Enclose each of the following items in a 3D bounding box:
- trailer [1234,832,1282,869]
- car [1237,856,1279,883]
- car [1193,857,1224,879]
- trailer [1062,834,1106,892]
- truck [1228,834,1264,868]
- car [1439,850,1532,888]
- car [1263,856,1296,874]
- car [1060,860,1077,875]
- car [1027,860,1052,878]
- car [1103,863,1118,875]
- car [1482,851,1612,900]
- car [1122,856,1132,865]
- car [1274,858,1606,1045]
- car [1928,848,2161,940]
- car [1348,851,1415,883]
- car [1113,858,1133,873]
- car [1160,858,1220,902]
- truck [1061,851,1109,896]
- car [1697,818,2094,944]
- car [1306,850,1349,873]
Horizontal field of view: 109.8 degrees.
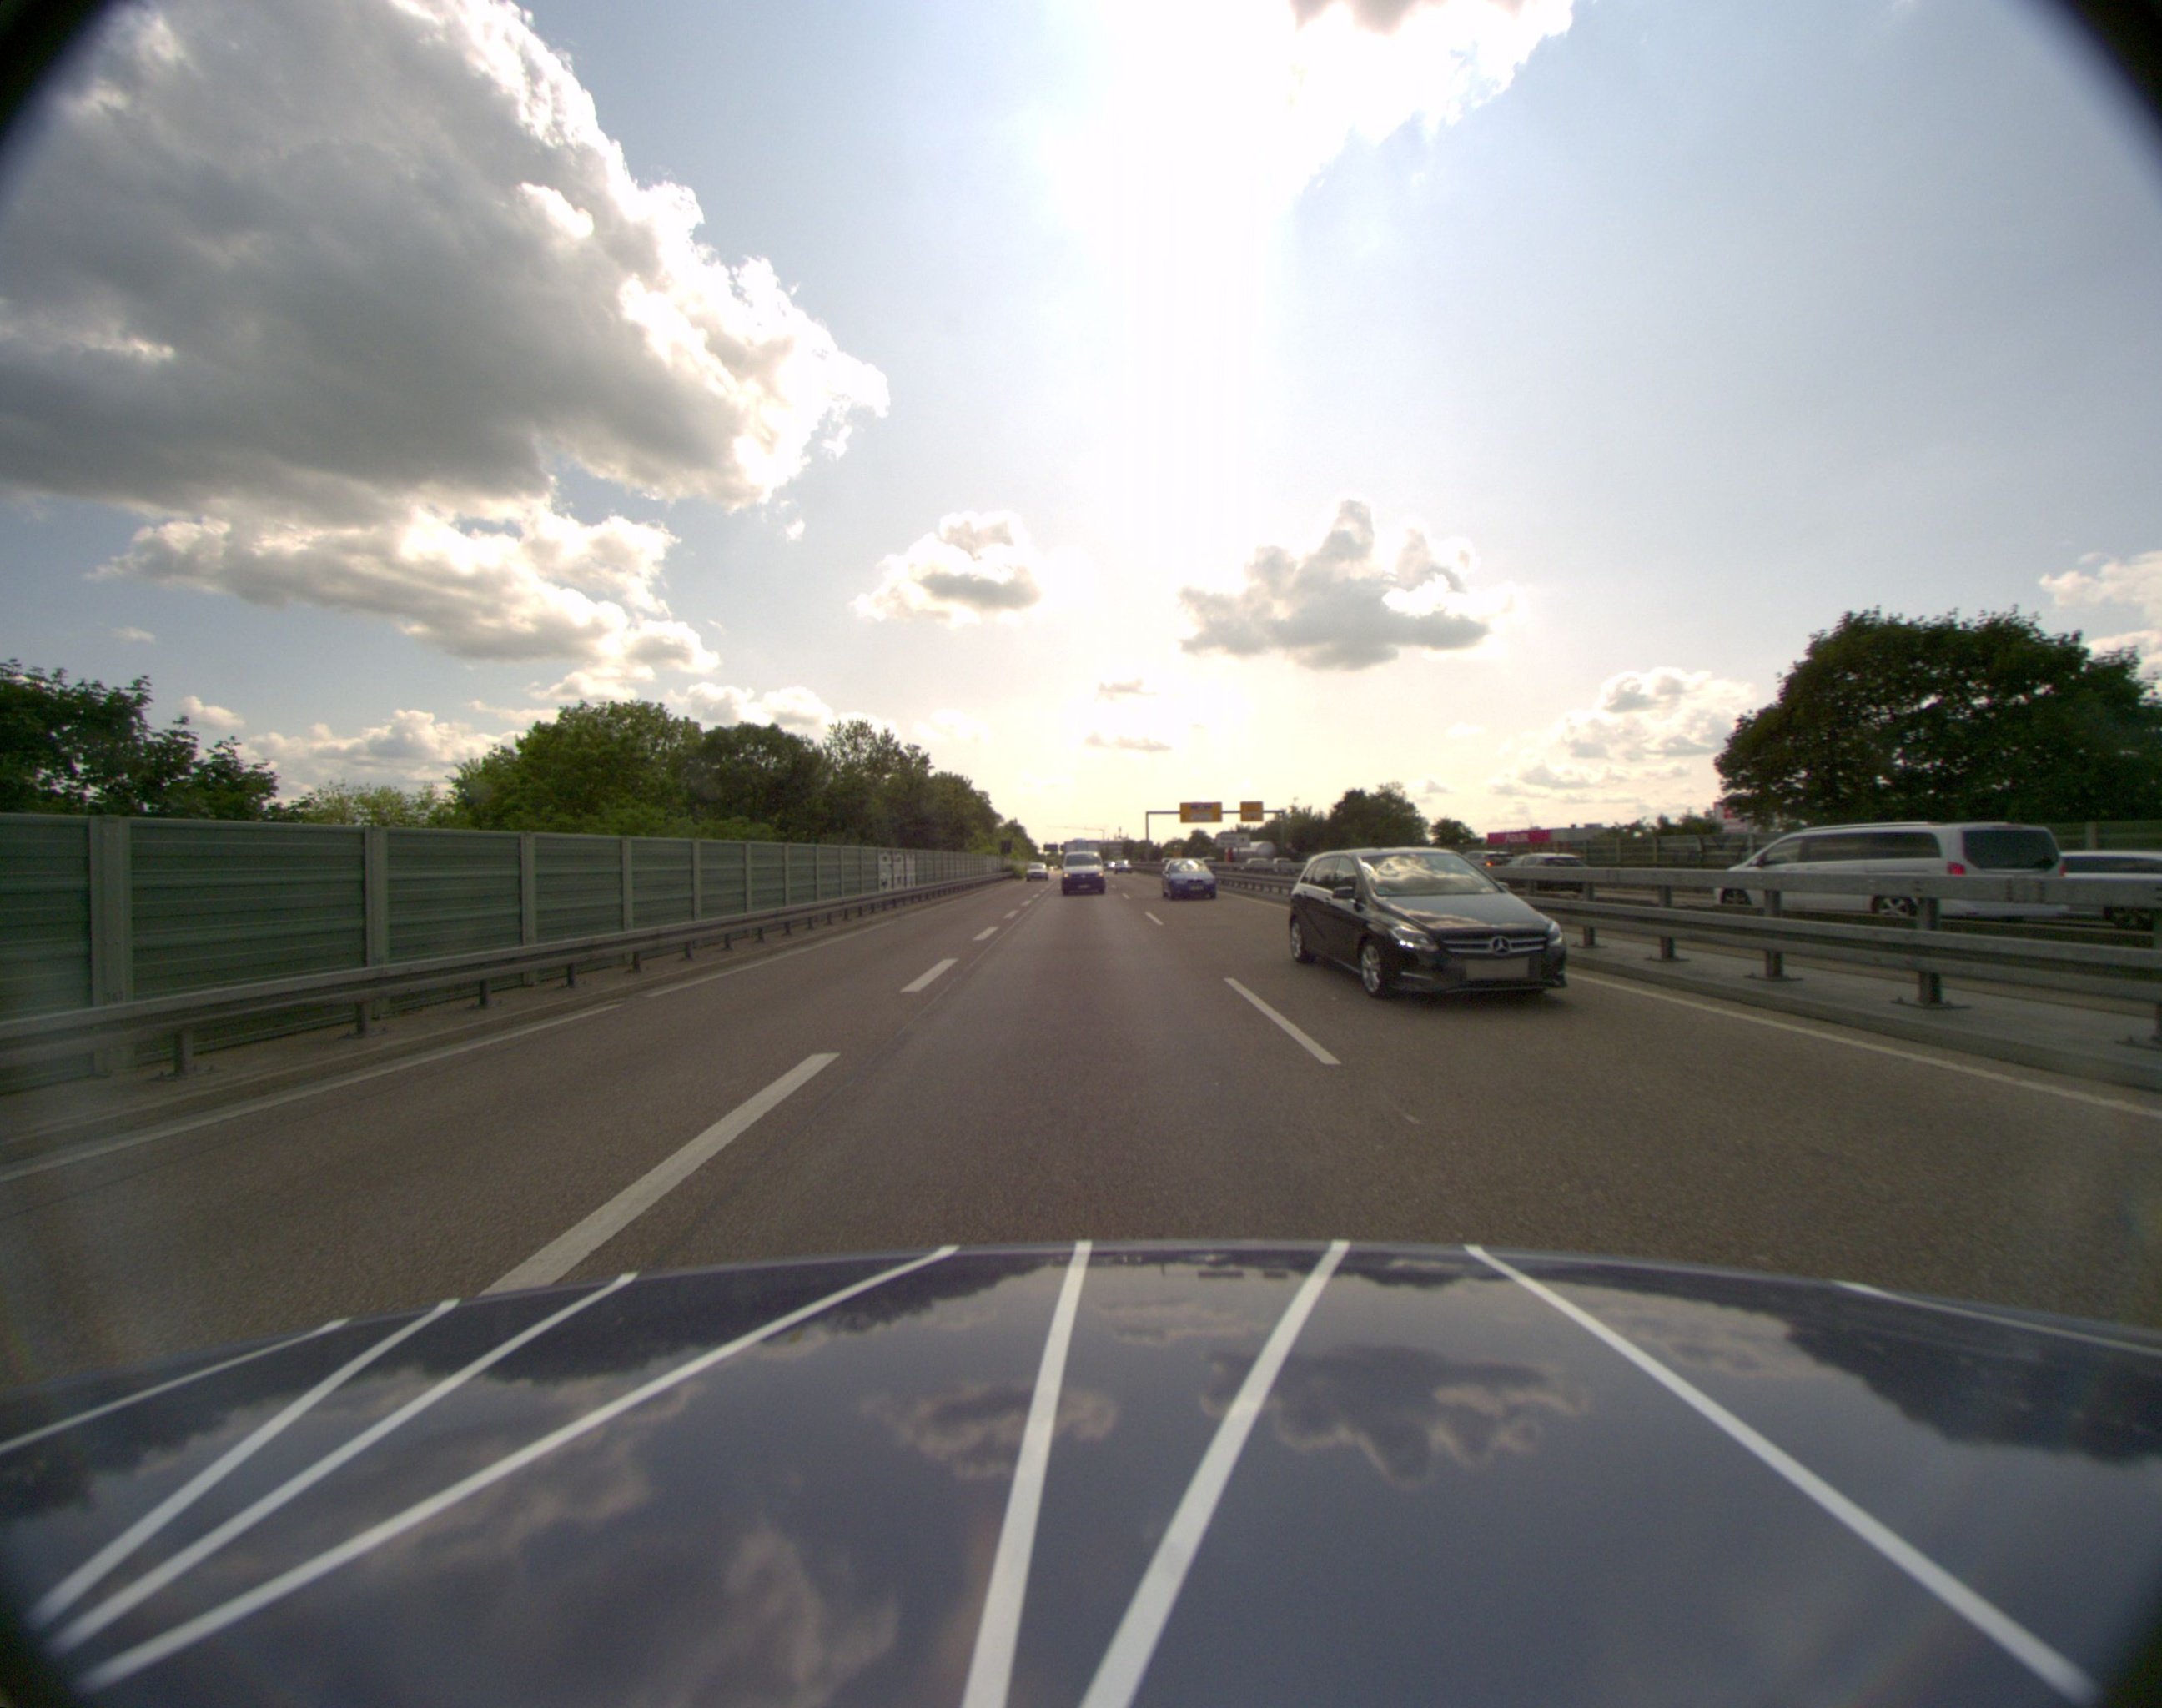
[{"bbox_3d":[19.033,-0.406,82.381,2.691,3.648,11.028,-3,0,1],"label":"trailer"},{"bbox_3d":[11.440,0.984,49.358,1.732,1.613,3.741,-3,-1,-2],"label":"car"},{"bbox_3d":[11.625,1.278,69.514,1.999,1.846,4.238,-3,0,0],"label":"car"},{"bbox_3d":[0.142,0.431,39.776,1.999,2.723,5.966,-3,0,0],"label":"trailer"},{"bbox_3d":[19.069,-0.330,88.233,2.655,3.760,6.232,-3,0,0],"label":"truck"},{"bbox_3d":[18.594,0.660,35.163,1.929,1.565,4.282,-2,0,-1],"label":"car"},{"bbox_3d":[17.350,0.944,66.673,1.787,1.500,3.959,-3,0,0],"label":"car"},{"bbox_3d":[-1.423,1.608,89.752,1.802,1.586,3.985,-3,0,1],"label":"car"},{"bbox_3d":[-3.399,1.223,63.079,1.768,1.403,3.771,-3,0,0],"label":"car"},{"bbox_3d":[4.164,2.086,107.550,1.895,1.518,4.465,-3,0,0],"label":"car"},{"bbox_3d":[16.189,0.692,26.678,1.929,1.565,4.244,0,0,-1],"label":"car"},{"bbox_3d":[11.519,1.594,190.092,2.085,1.978,5.225,-3,3,-1],"label":"car"},{"bbox_3d":[3.722,0.866,8.932,1.716,1.518,4.592,-3,0,0],"label":"car"},{"bbox_3d":[19.883,0.696,14.807,1.929,1.565,4.282,-2,0,-1],"label":"car"},{"bbox_3d":[15.986,0.653,40.675,1.929,1.565,3.886,-3,0,-1],"label":"car"},{"bbox_3d":[4.440,1.201,80.705,1.779,1.518,4.465,-3,0,0],"label":"car"},{"bbox_3d":[3.934,0.911,27.944,1.625,1.403,3.771,-3,0,0],"label":"car"},{"bbox_3d":[0.165,0.841,34.762,2.008,1.905,4.000,-2,0,0],"label":"truck"},{"bbox_3d":[15.195,0.466,14.793,1.965,1.914,5.191,-3,-1,-2],"label":"car"},{"bbox_3d":[18.196,0.516,56.243,1.719,1.610,4.281,0,0,0],"label":"car"}]
